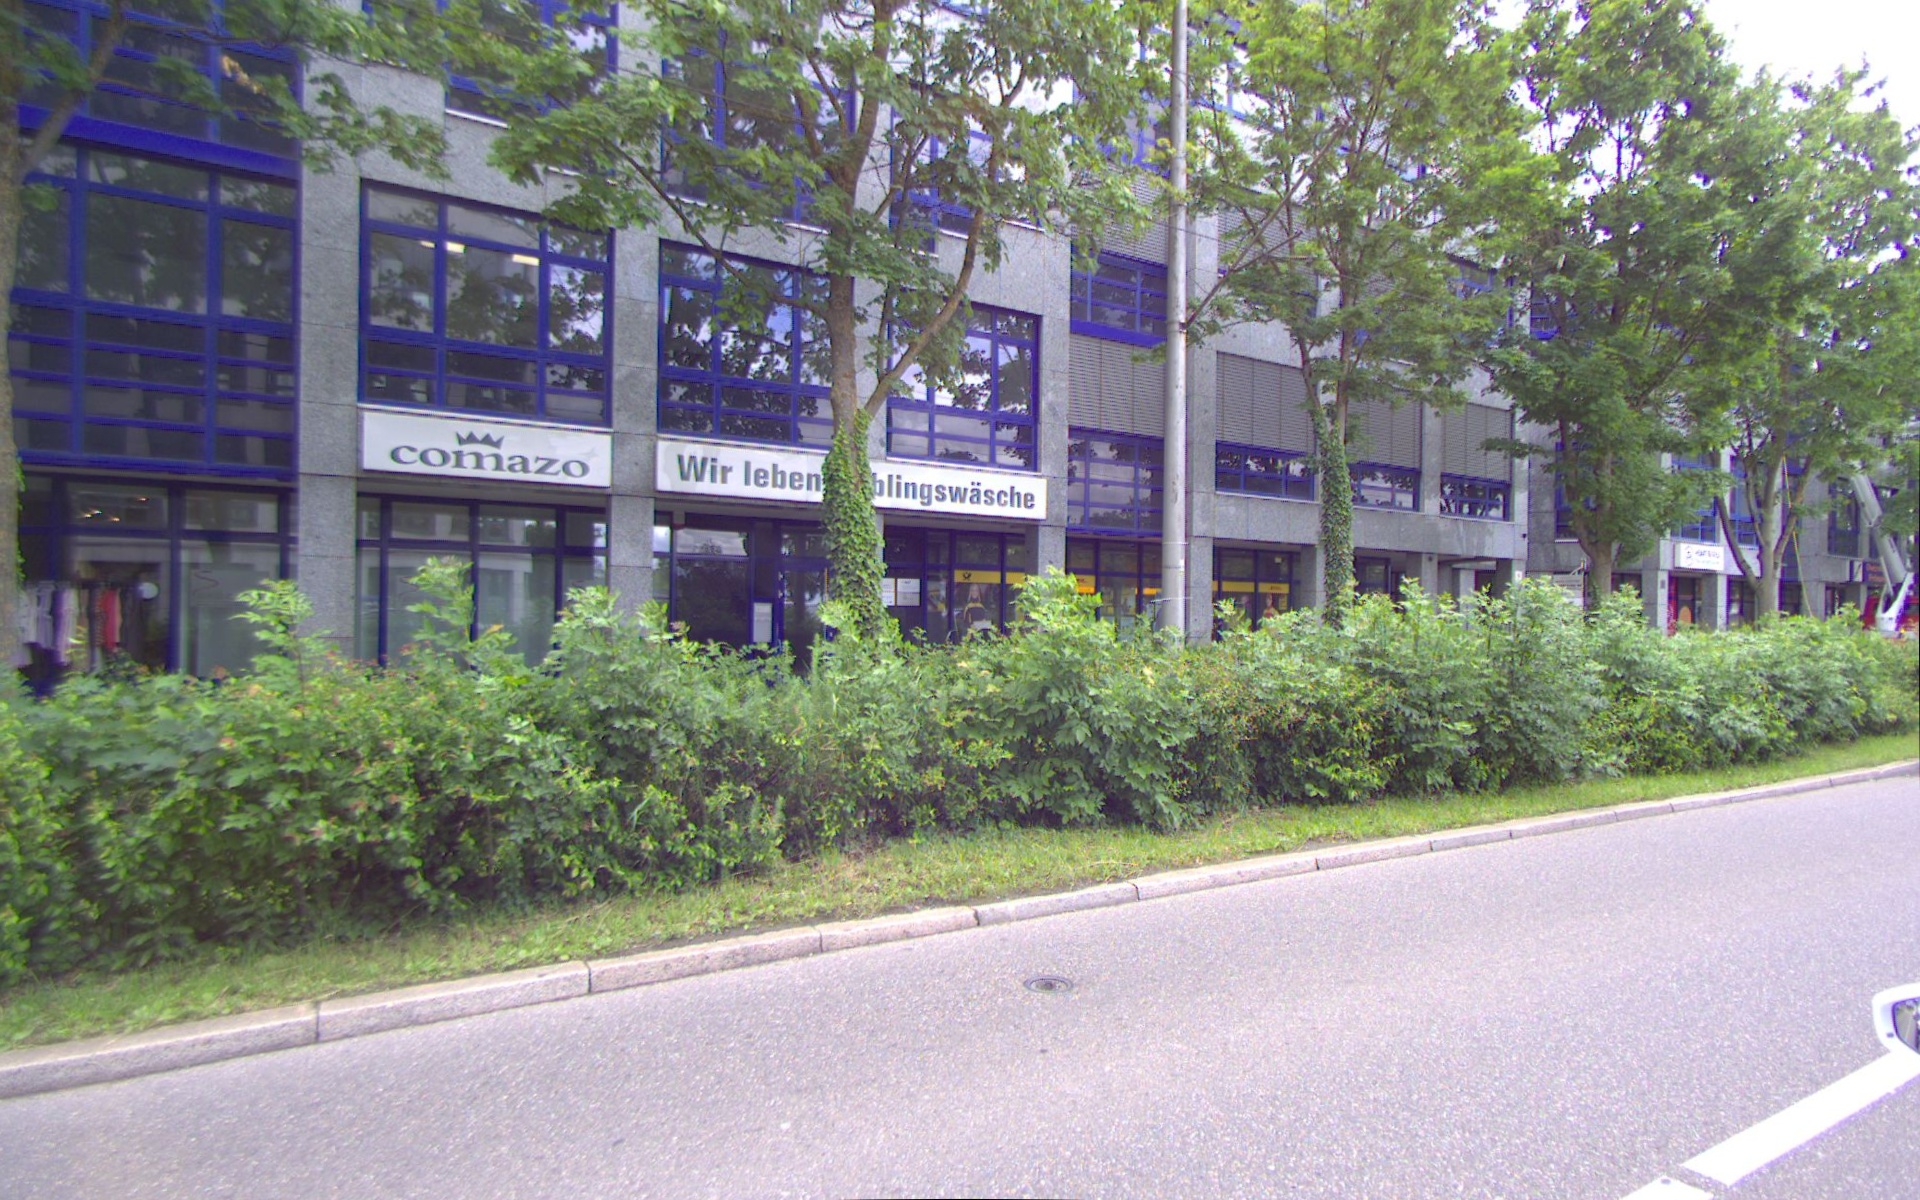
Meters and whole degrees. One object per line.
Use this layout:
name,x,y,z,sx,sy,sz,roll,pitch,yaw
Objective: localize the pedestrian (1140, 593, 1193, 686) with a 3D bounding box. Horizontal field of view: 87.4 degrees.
pedestrian,4.346,0.817,21.176,0.723,1.919,0.771,2,0,-30
